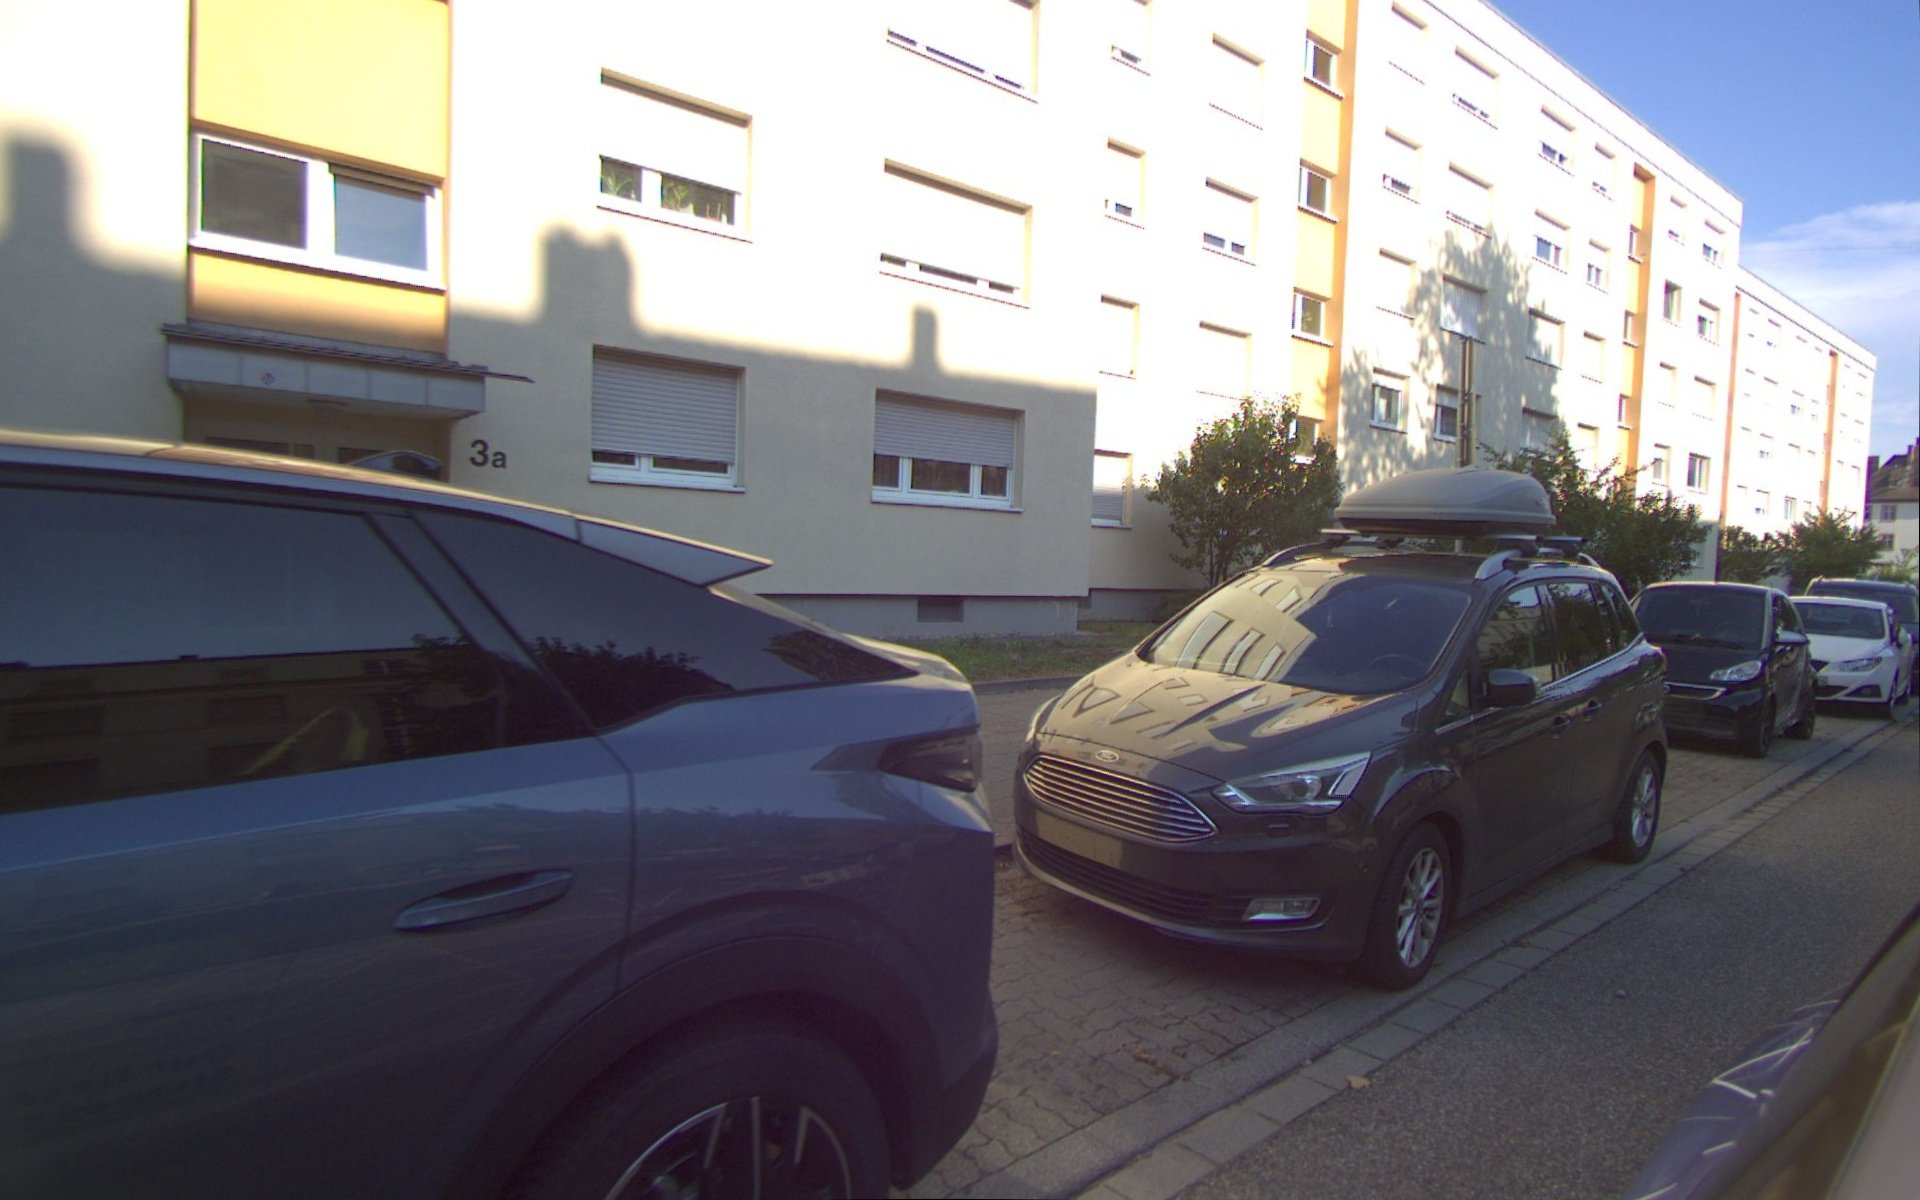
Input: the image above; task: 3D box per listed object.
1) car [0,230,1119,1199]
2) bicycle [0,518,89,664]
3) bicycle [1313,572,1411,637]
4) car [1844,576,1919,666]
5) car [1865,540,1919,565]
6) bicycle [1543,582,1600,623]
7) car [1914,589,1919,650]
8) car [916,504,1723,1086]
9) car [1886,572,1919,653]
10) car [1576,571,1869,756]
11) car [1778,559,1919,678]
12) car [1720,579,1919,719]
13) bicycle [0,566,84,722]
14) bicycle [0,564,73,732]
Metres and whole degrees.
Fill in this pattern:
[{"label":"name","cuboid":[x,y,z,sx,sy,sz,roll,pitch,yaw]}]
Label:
[{"label":"car","cuboid":[-2.024,0.466,1.330,4.596,1.679,1.930,-1,2,-41]},{"label":"bicycle","cuboid":[-7.323,-0.062,7.095,1.800,1.034,0.614,-1,2,-39]},{"label":"bicycle","cuboid":[7.425,0.096,18.633,2.351,1.095,0.601,2,2,-41]},{"label":"car","cuboid":[19.189,0.396,19.986,4.098,1.518,1.844,-1,8,-40]},{"label":"car","cuboid":[70.951,-3.567,76.122,1.965,1.816,3.996,-1,2,-40]},{"label":"bicycle","cuboid":[17.831,0.061,29.506,2.350,1.126,0.495,-1,7,-37]},{"label":"car","cuboid":[27.865,0.553,27.771,4.205,1.624,1.967,-1,4,-41]},{"label":"car","cuboid":[2.052,0.515,5.028,4.267,1.671,1.901,0,3,-41]},{"label":"car","cuboid":[23.754,0.366,24.050,3.908,1.790,1.844,-1,11,-40]},{"label":"car","cuboid":[7.927,0.478,10.391,3.972,1.512,1.609,-1,3,-41]},{"label":"car","cuboid":[15.591,0.311,17.092,4.683,1.772,2.027,1,-1,-41]},{"label":"car","cuboid":[11.911,0.514,13.619,4.642,1.432,1.683,-1,6,-41]},{"label":"bicycle","cuboid":[-6.943,0.292,6.611,1.800,1.034,0.614,-1,2,-39]},{"label":"bicycle","cuboid":[-6.562,0.301,6.085,1.800,1.034,0.614,-1,2,-39]}]
